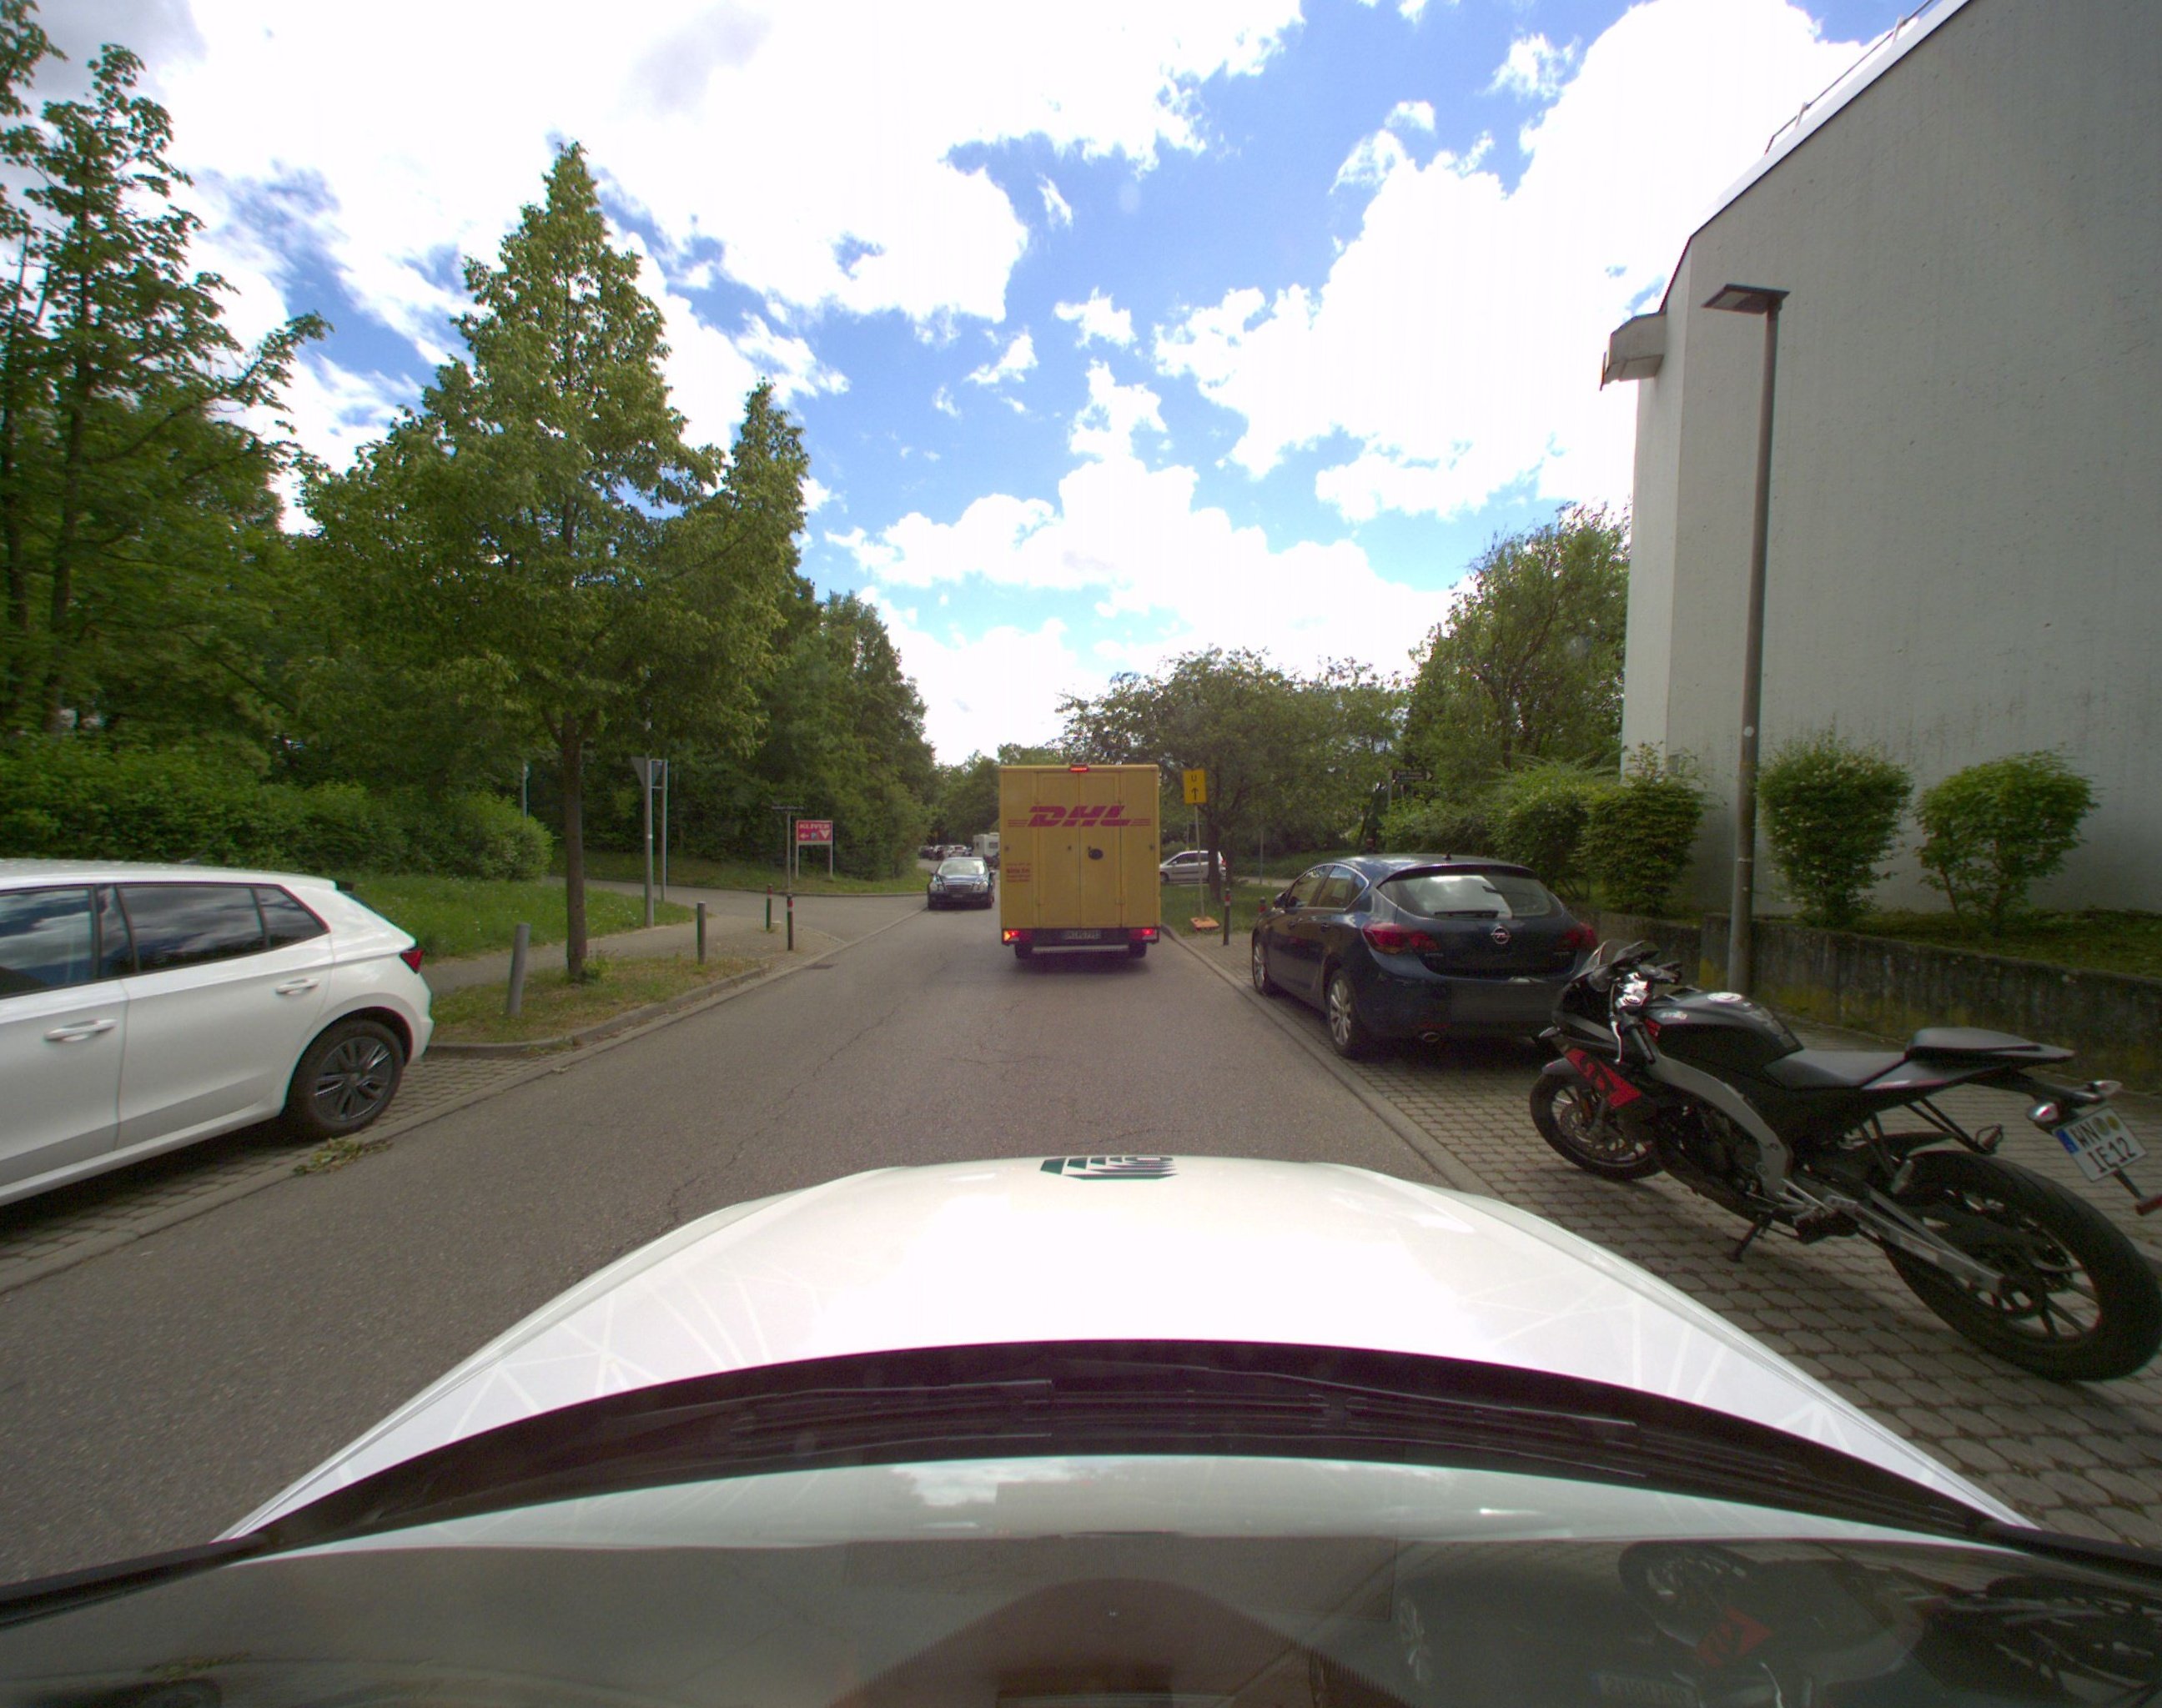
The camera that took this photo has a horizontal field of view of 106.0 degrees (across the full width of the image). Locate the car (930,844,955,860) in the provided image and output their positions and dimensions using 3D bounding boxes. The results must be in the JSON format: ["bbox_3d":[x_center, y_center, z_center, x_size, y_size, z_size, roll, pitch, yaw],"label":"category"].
[{"bbox_3d":[-15.499,-0.225,90.878,1.852,1.613,3.969,1,2,-24],"label":"car"}]

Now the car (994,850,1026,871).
[{"bbox_3d":[-5.810,0.531,66.053,1.847,1.530,3.980,1,1,-16],"label":"car"}]

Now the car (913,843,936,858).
[{"bbox_3d":[-18.574,-0.431,96.561,1.852,1.613,3.969,1,2,-24],"label":"car"}]

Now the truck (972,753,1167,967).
[{"bbox_3d":[-0.220,0.064,13.816,2.459,2.702,6.820,-1,0,-1],"label":"truck"}]

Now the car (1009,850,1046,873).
[{"bbox_3d":[-3.903,0.505,58.933,1.847,1.530,3.980,1,1,-16],"label":"car"}]

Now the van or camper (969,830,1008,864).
[{"bbox_3d":[-8.348,-0.655,72.933,2.331,2.871,5.227,1,1,-19],"label":"van or camper"}]

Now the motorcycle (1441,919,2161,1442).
[{"bbox_3d":[2.394,0.850,3.030,0.899,1.112,2.076,1,-2,-11],"label":"motorcycle"}]

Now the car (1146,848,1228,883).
[{"bbox_3d":[4.892,0.536,37.837,3.617,1.486,1.692,1,1,1],"label":"car"}]

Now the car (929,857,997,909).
[{"bbox_3d":[-3.447,0.809,24.459,1.671,1.355,3.964,1,0,-4],"label":"car"}]

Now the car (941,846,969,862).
[{"bbox_3d":[-13.245,0.002,85.345,1.852,1.530,3.969,1,2,-24],"label":"car"}]

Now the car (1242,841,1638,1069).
[{"bbox_3d":[2.702,0.671,7.197,1.723,1.433,3.967,1,-1,-1],"label":"car"}]

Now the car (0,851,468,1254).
[{"bbox_3d":[-4.748,0.721,3.127,1.668,1.436,3.971,1,0,2],"label":"car"}]
